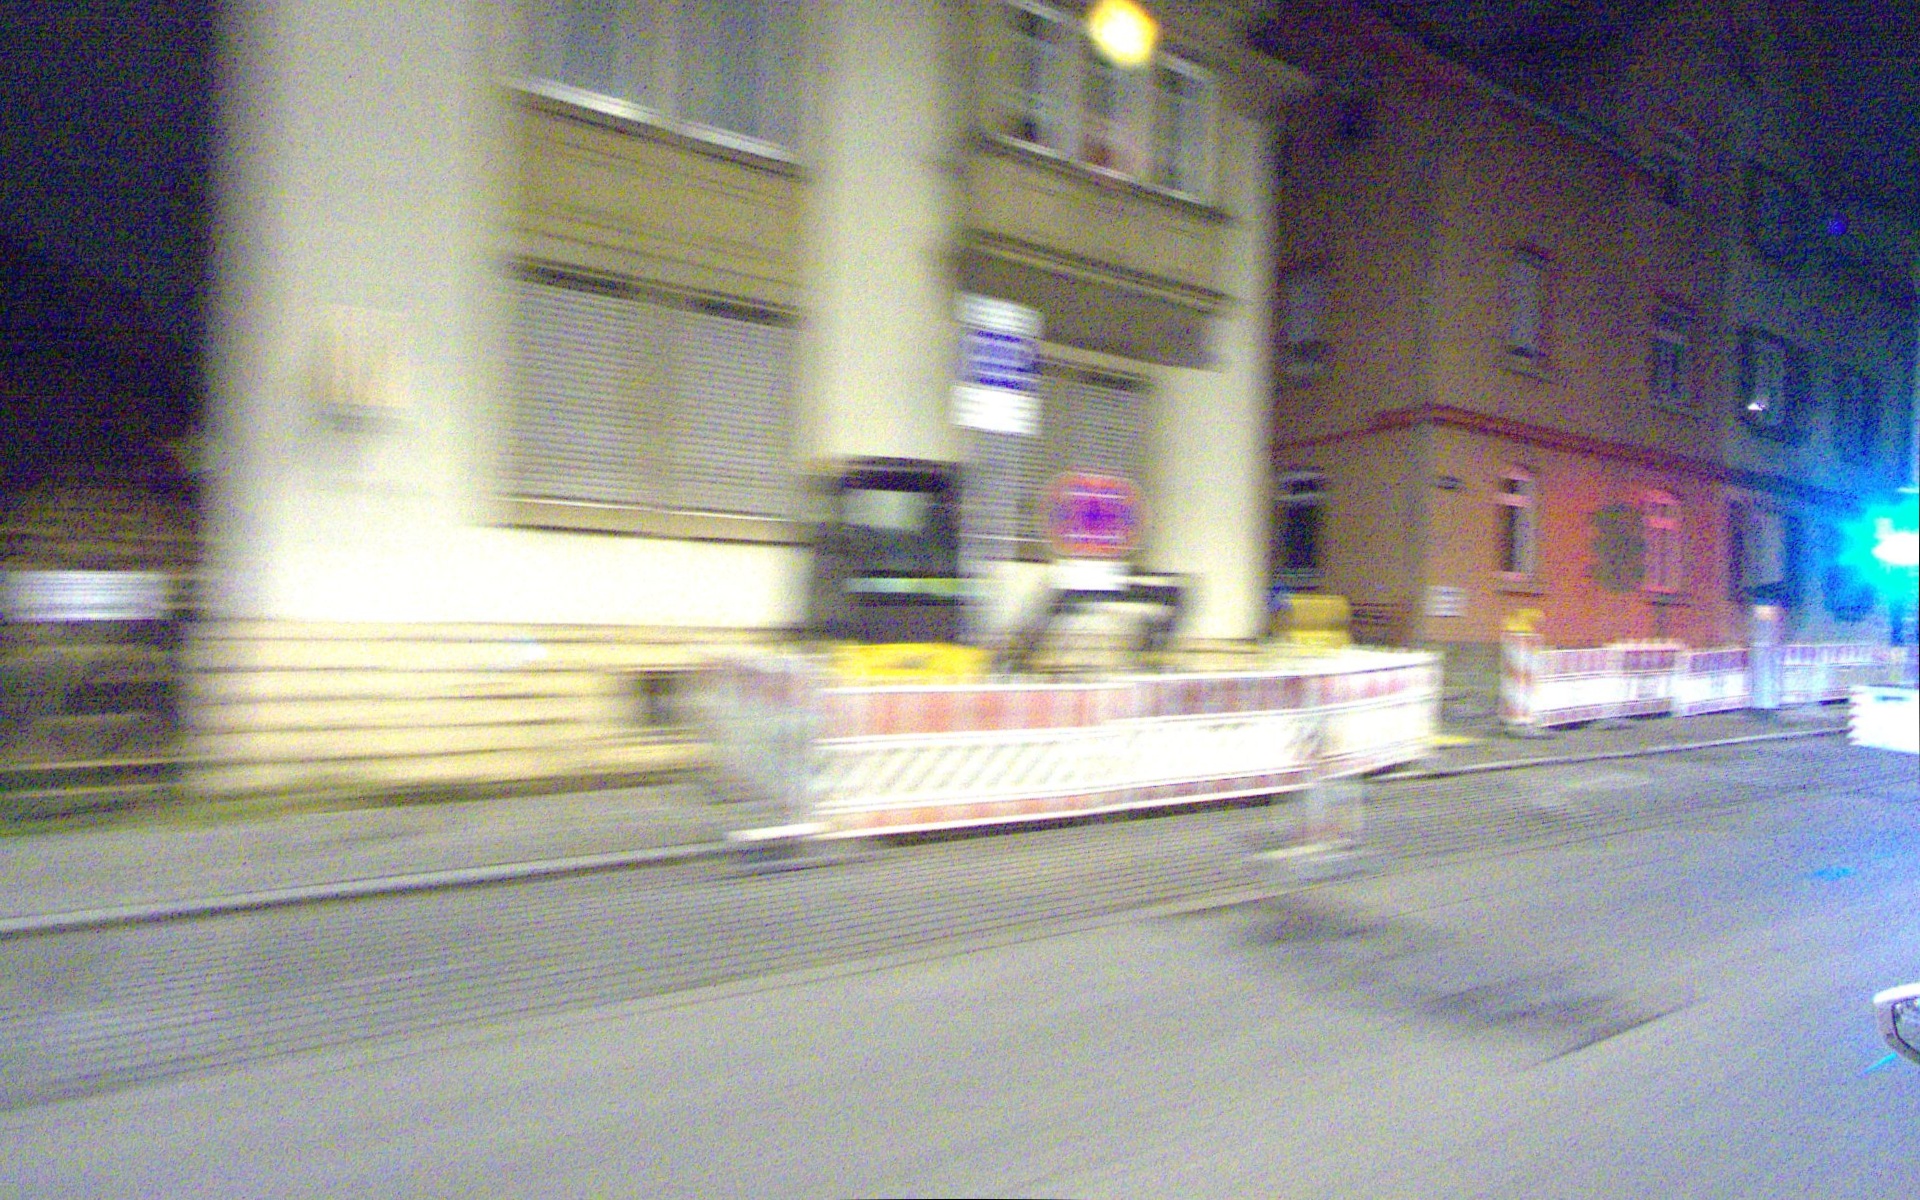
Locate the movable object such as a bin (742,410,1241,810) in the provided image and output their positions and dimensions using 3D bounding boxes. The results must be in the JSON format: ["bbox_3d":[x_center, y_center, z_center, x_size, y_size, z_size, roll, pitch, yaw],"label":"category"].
[{"bbox_3d":[0.330,0.120,8.309,3.862,2.661,1.564,2,-1,-29],"label":"movable object such as a bin"}]
